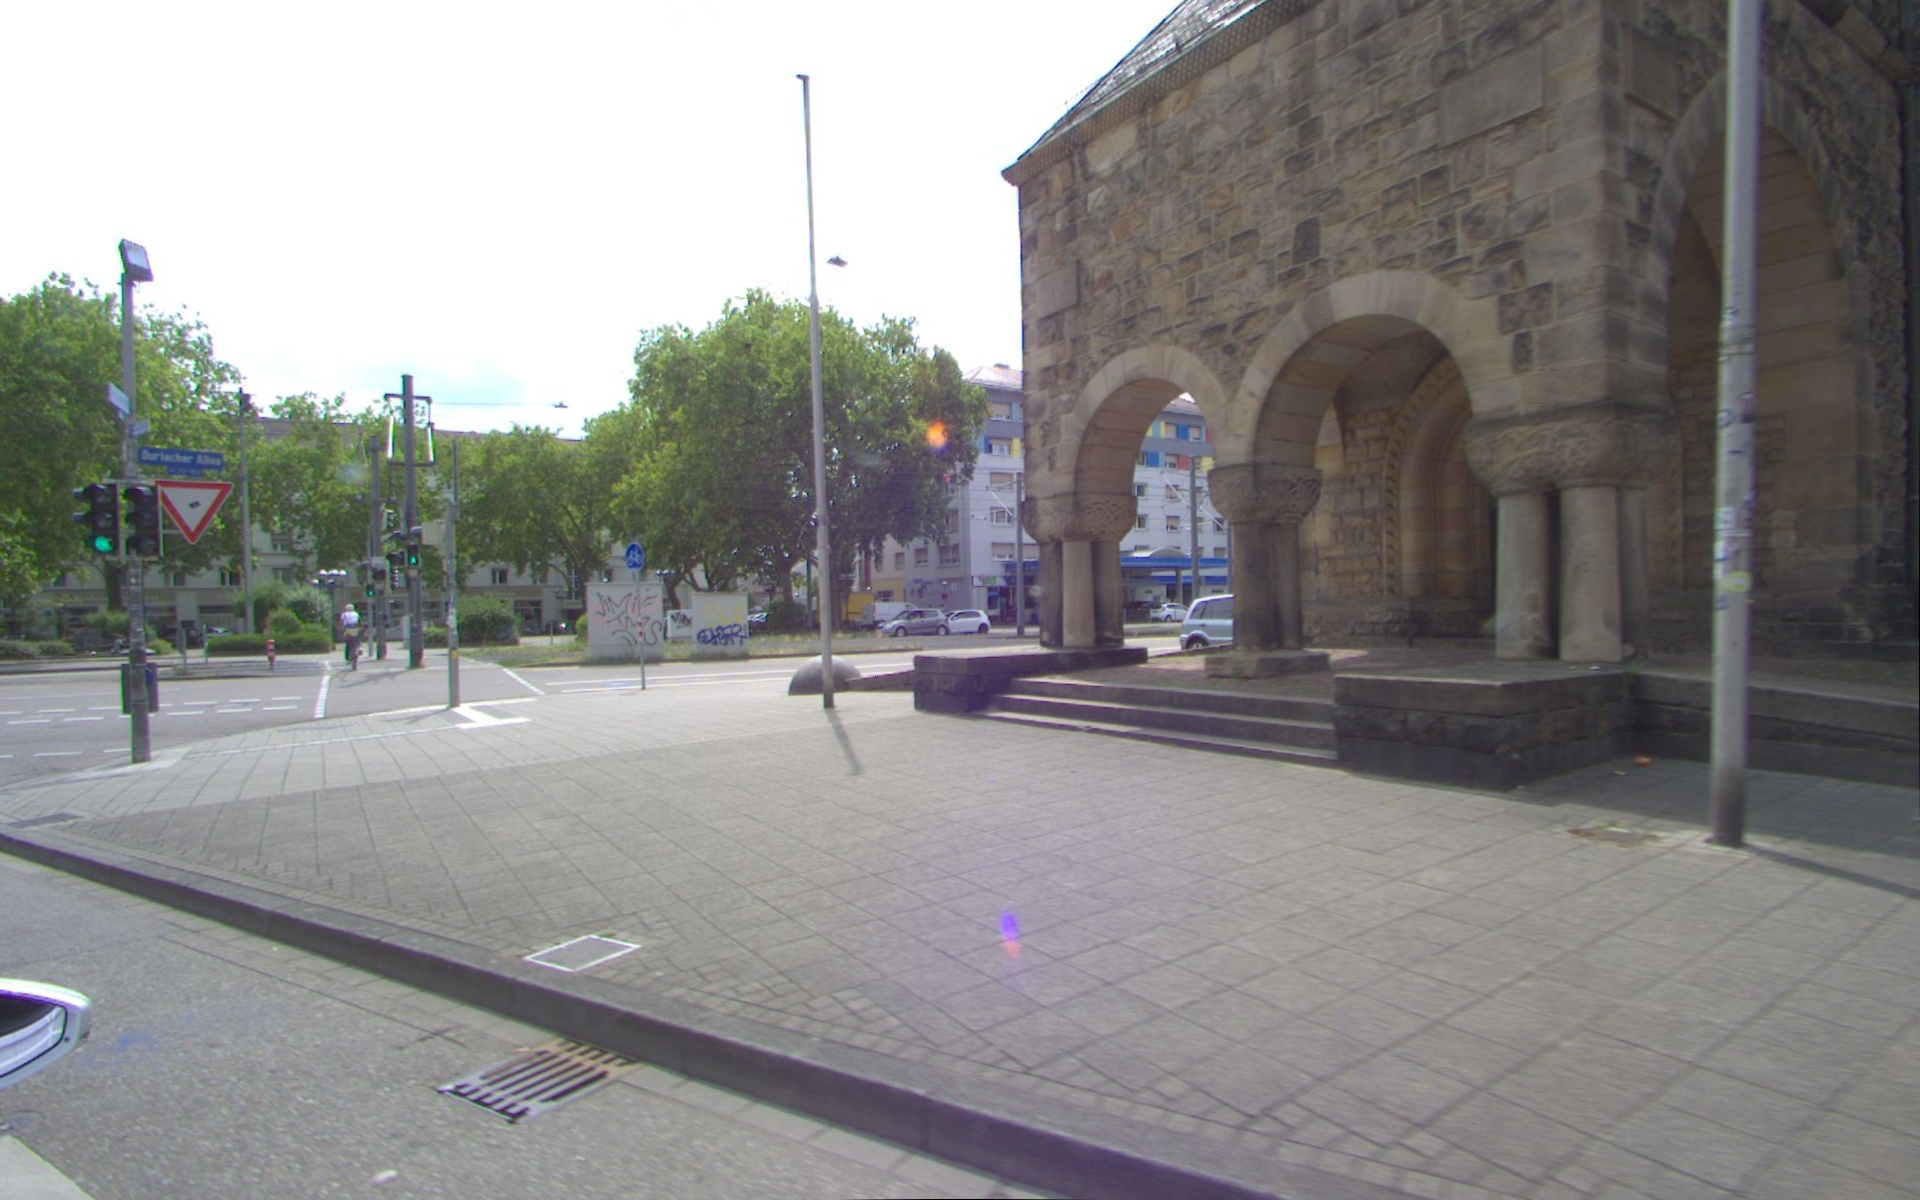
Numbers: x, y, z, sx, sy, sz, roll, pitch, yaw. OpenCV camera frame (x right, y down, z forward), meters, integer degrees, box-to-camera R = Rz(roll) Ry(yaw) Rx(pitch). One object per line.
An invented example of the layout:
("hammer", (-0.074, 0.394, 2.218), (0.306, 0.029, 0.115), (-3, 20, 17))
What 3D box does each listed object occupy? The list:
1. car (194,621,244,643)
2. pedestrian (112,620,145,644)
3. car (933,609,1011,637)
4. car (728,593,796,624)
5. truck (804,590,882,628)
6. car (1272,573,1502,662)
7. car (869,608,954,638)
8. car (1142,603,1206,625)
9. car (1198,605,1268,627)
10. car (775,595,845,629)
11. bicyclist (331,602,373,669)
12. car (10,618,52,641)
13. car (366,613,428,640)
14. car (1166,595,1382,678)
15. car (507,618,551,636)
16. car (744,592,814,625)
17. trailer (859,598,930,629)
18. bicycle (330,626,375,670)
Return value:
("car", (-55.030, 2.357, 74.383), (3.949, 1.523, 1.986), (-1, 0, 37))
("pedestrian", (-46.158, 1.790, 55.604), (1.423, 1.252, 1.087), (-2, 1, 37))
("car", (0.675, 1.298, 56.359), (4.020, 1.432, 1.751), (-1, -1, -29))
("car", (-17.239, 0.736, 87.350), (5.268, 2.618, 2.482), (0, -1, -35))
("truck", (-8.554, 0.652, 72.582), (3.040, 2.611, 6.469), (-1, 0, -34))
("car", (9.332, 0.370, 22.244), (1.925, 1.748, 4.395), (-1, 0, -33))
("car", (-2.444, 1.169, 50.458), (3.941, 1.418, 1.617), (-1, -1, -29))
("car", (15.996, 1.013, 74.732), (4.553, 1.535, 1.985), (-1, -2, -31))
("car", (18.821, 1.116, 68.965), (4.730, 1.418, 1.751), (-1, -1, -29))
("car", (-12.289, 0.961, 82.101), (5.268, 2.618, 2.166), (0, -1, -35))
("bicyclist", (-15.812, 0.902, 26.029), (0.895, 1.706, 0.752), (-1, 0, -34))
("car", (-70.752, 2.210, 76.304), (1.787, 1.706, 3.972), (-1, 0, -35))
("car", (-42.684, 2.003, 75.964), (3.946, 1.908, 1.846), (-1, 0, -33))
("car", (6.465, 0.709, 21.035), (1.992, 1.563, 4.003), (-1, 0, -33))
("car", (-37.236, 2.324, 86.466), (3.949, 1.523, 1.760), (-1, 0, 38))
("car", (-15.341, 0.718, 85.116), (5.268, 2.618, 2.482), (0, -1, -35))
("trailer", (-4.353, 0.894, 66.468), (4.376, 1.951, 1.843), (-1, 0, -33))
("bicycle", (-15.812, 1.226, 26.038), (0.894, 1.089, 1.957), (-1, 0, -34))
